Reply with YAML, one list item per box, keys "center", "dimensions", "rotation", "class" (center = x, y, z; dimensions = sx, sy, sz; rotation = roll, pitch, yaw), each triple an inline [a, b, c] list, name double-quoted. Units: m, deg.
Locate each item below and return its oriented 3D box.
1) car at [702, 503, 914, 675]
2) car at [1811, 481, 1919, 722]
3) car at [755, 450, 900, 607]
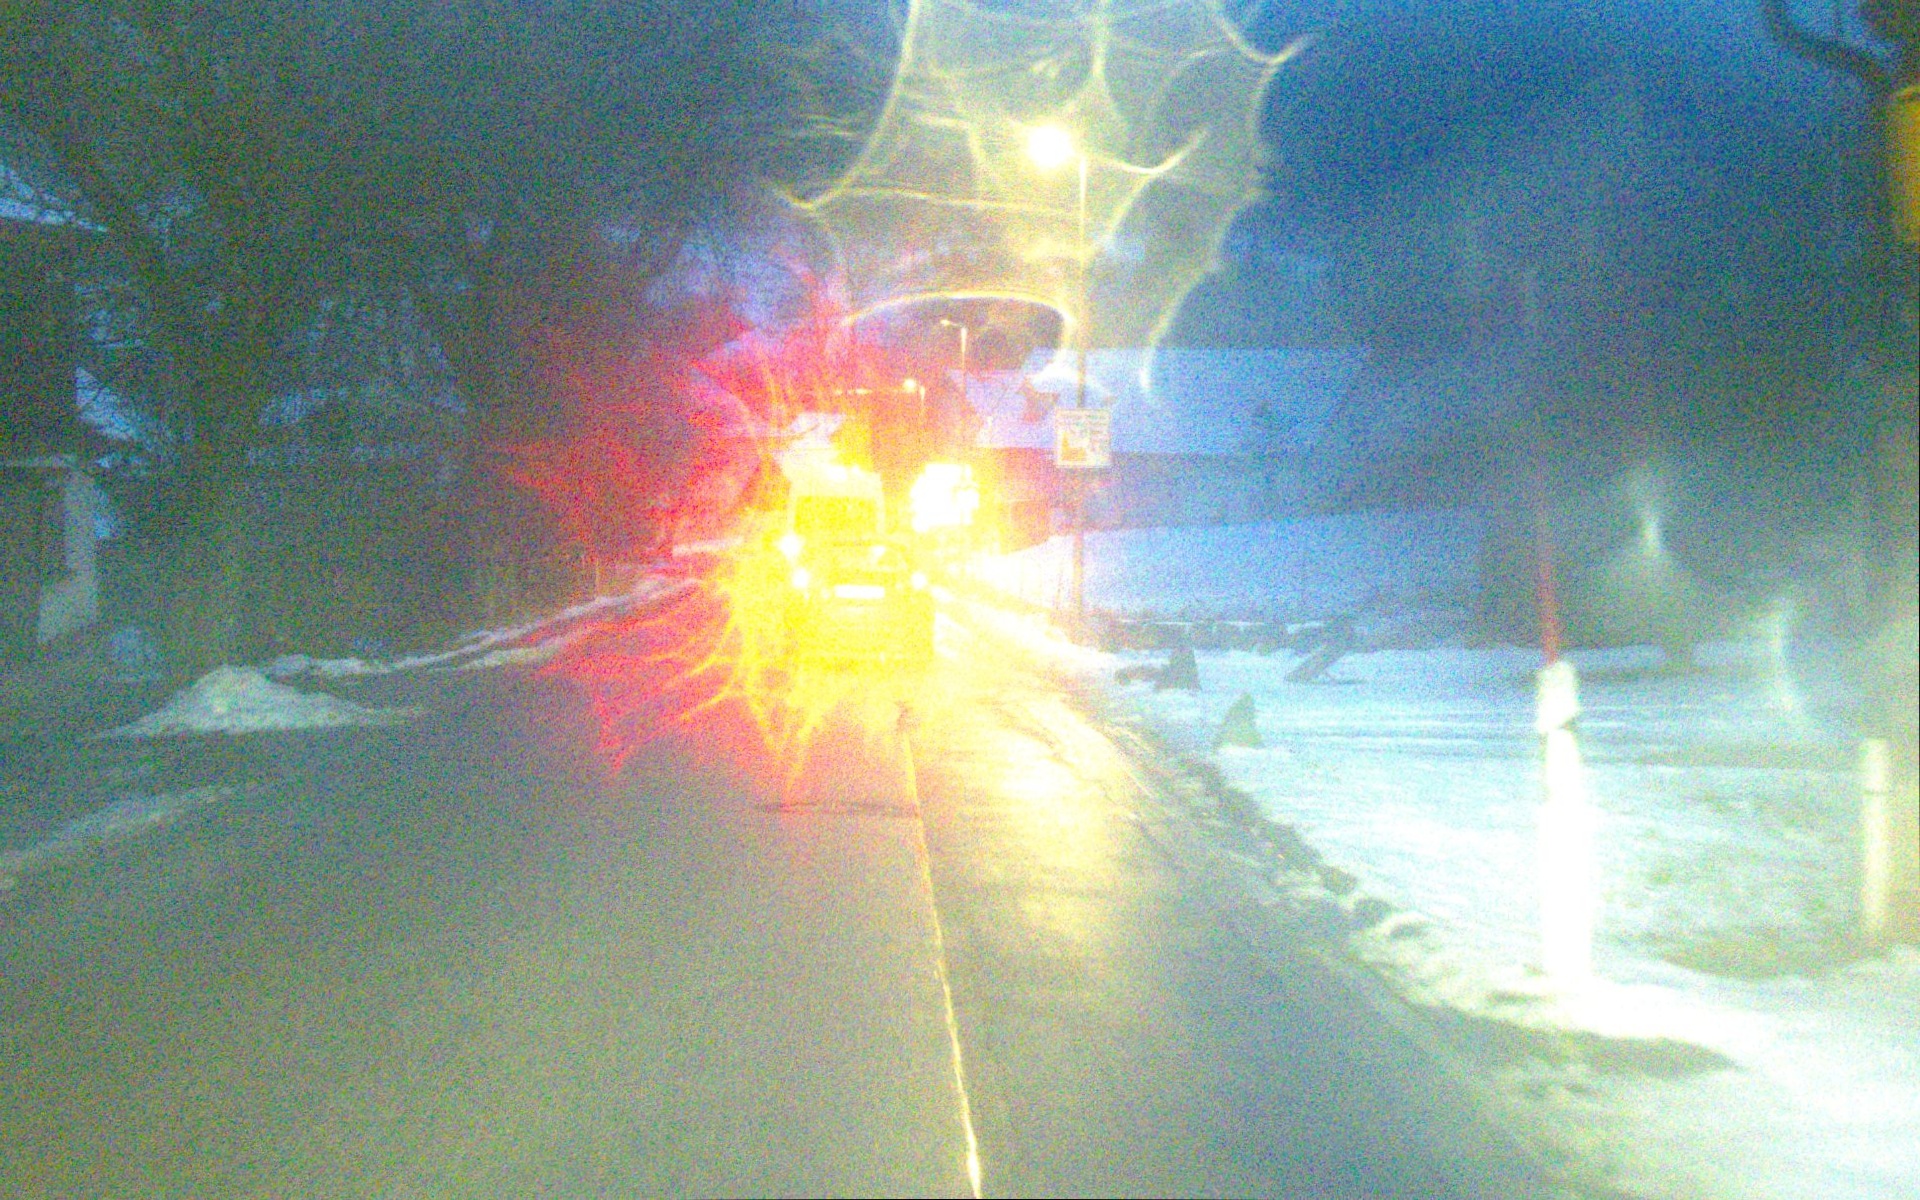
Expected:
- center: [-1.704, -0.171, 39.719]
  dimensions: [2.274, 1.834, 5.007]
  rotation: [-1, 1, -1]
  class: "car"
- center: [8.731, -0.189, 25.426]
  dimensions: [4.397, 1.651, 1.862]
  rotation: [-6, 1, 7]
  class: "car"
- center: [-2.605, -1.375, 68.931]
  dimensions: [2.435, 3.008, 5.324]
  rotation: [0, 0, 3]
  class: "car"
